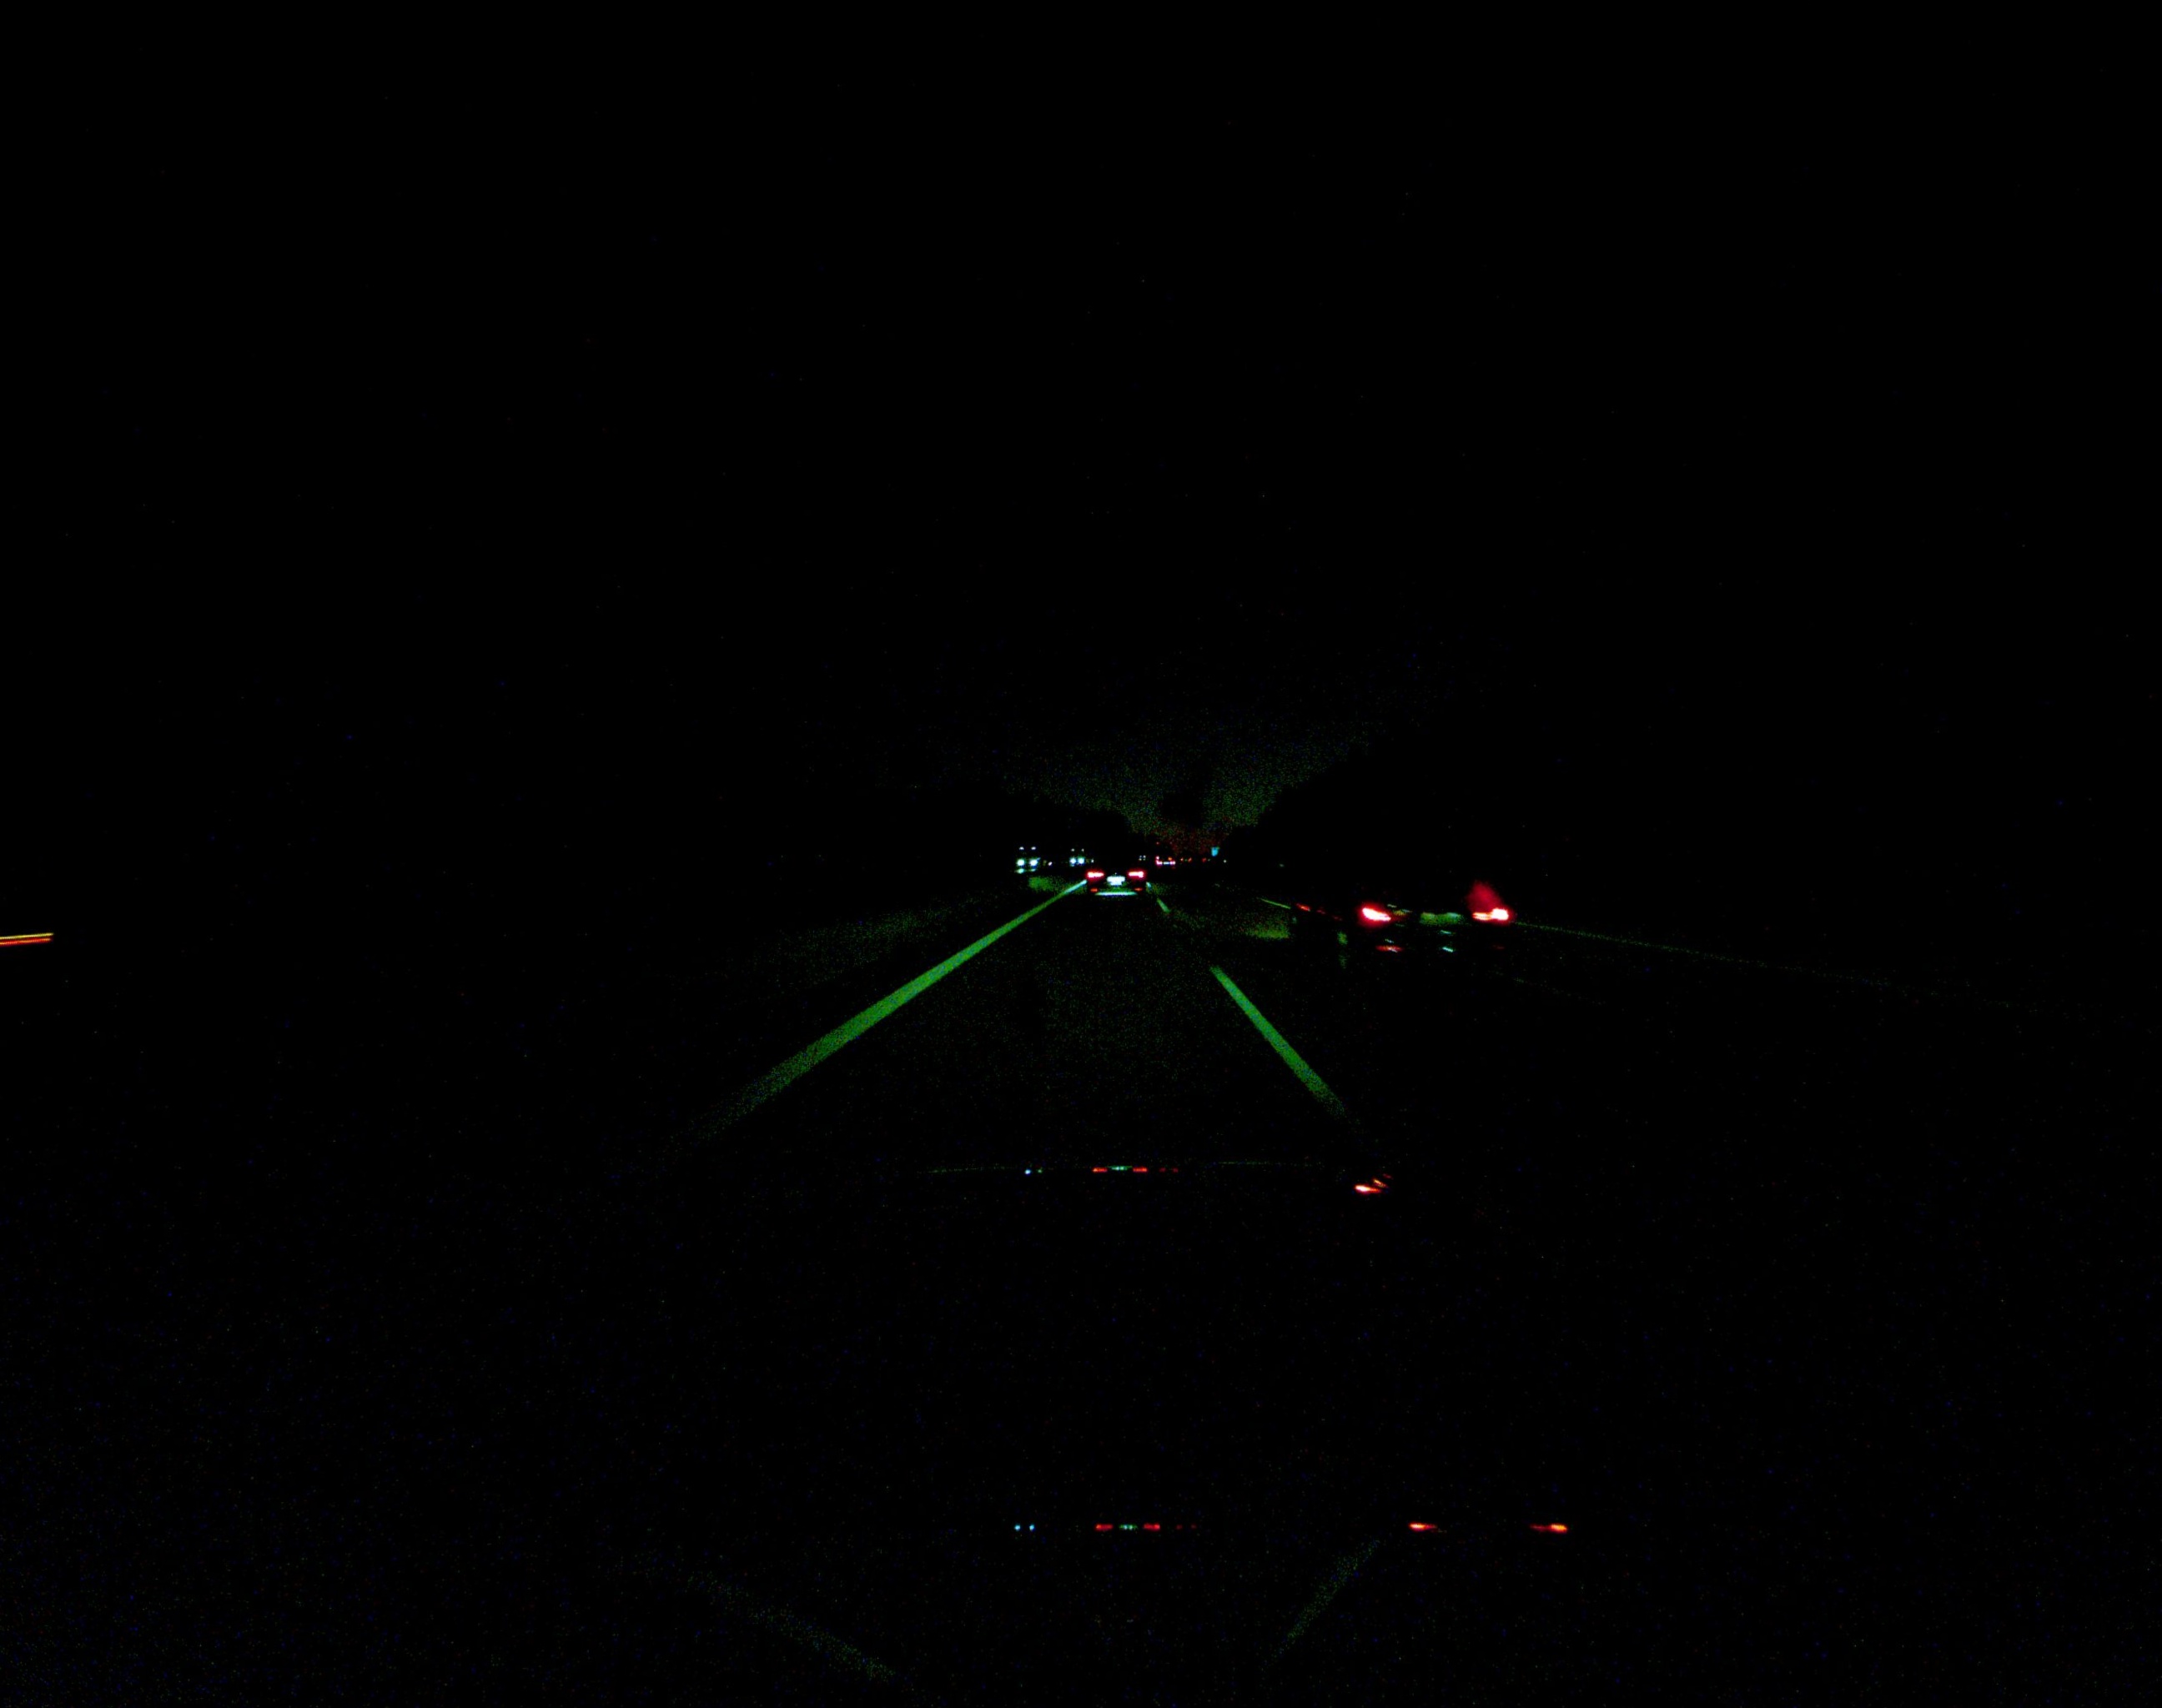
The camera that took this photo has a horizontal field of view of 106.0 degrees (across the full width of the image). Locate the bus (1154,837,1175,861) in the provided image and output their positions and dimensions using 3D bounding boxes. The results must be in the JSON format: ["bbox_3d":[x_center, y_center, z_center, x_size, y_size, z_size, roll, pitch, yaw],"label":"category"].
[{"bbox_3d":[15.675,-0.802,151.641,2.636,3.994,14.741,-4,-2,10],"label":"bus"}]

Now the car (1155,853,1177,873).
[{"bbox_3d":[7.887,0.866,76.067,1.903,1.730,4.004,2,-1,4],"label":"car"}]

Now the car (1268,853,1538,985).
[{"bbox_3d":[4.097,0.710,11.423,1.829,1.401,5.069,-1,0,1],"label":"car"}]

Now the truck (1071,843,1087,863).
[{"bbox_3d":[-0.353,-0.290,182.734,2.838,4.433,6.407,0,0,6],"label":"truck"}]

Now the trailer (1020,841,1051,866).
[{"bbox_3d":[-7.020,-0.080,128.421,3.042,3.689,11.705,0,0,6],"label":"trailer"}]

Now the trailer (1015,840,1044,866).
[{"bbox_3d":[-7.667,-0.104,121.988,3.042,3.689,7.240,0,0,6],"label":"trailer"}]

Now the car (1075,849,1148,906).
[{"bbox_3d":[1.017,0.663,25.475,2.096,1.618,4.209,0,1,4],"label":"car"}]

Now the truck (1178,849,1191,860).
[{"bbox_3d":[28.563,0.059,224.757,2.536,3.016,9.057,0,0,2],"label":"truck"}]
